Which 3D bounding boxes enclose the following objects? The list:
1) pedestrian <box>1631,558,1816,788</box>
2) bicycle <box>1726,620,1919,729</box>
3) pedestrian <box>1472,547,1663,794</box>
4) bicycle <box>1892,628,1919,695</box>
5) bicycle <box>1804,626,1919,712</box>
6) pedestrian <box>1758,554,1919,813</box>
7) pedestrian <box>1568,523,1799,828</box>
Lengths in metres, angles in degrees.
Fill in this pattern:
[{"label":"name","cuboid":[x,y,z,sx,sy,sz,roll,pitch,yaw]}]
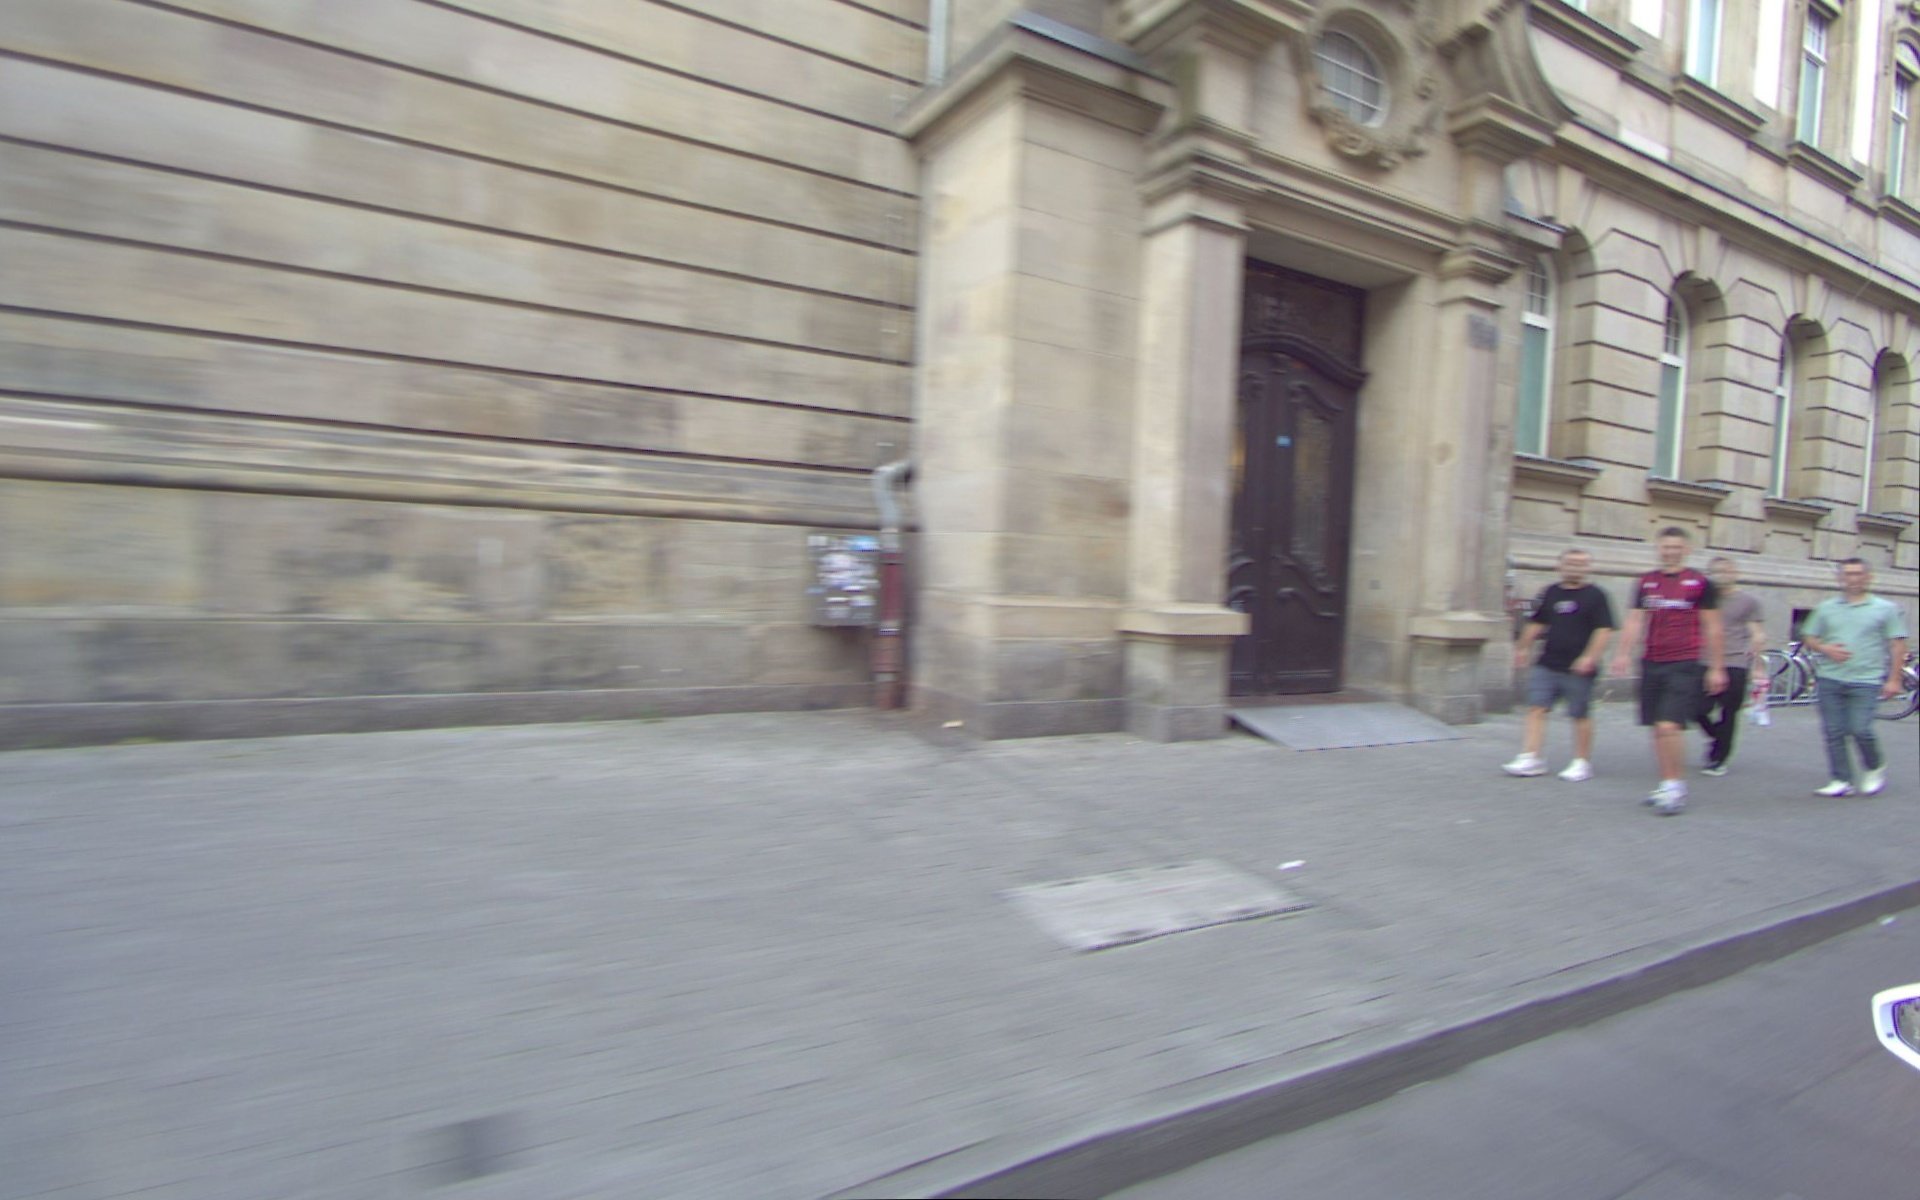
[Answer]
[{"label":"pedestrian","cuboid":[6.078,0.549,8.019,0.847,1.690,0.726,2,5,-27]},{"label":"bicycle","cuboid":[11.340,0.920,13.050,0.723,1.124,2.004,2,4,-36]},{"label":"pedestrian","cuboid":[4.424,0.485,7.361,0.738,1.664,0.754,2,5,-23]},{"label":"bicycle","cuboid":[16.643,1.105,16.376,0.722,1.093,1.926,2,4,-32]},{"label":"bicycle","cuboid":[13.687,1.030,14.666,1.995,1.093,0.726,7,4,41]},{"label":"pedestrian","cuboid":[6.675,0.583,7.463,0.829,1.766,0.723,2,5,-27]},{"label":"pedestrian","cuboid":[4.734,0.459,6.609,0.857,1.855,0.714,2,5,-23]}]
